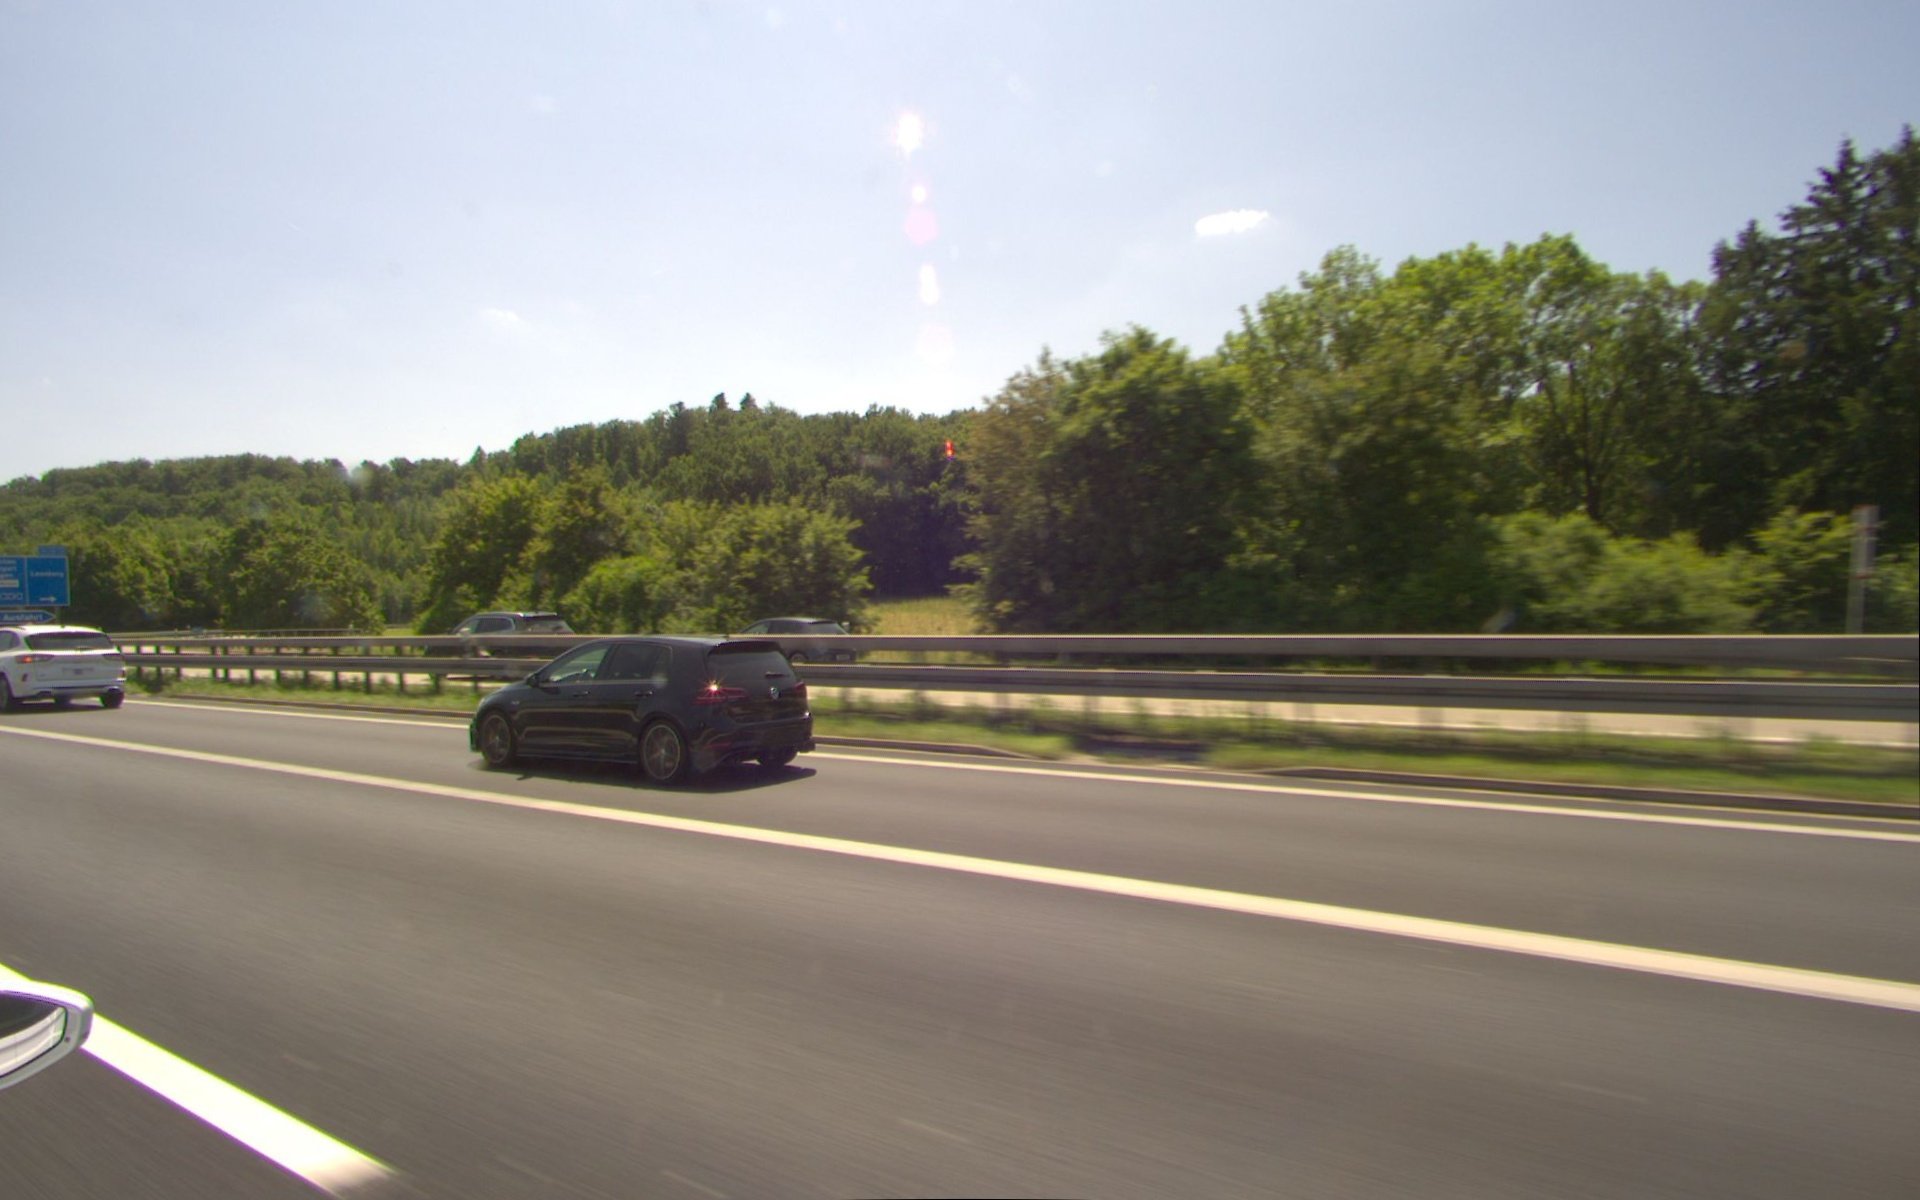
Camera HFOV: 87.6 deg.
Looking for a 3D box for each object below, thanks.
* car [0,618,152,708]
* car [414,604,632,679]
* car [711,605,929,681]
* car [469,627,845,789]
[{"bbox_3d":[-18.802,1.248,20.630,4.403,1.683,1.991,-1,-2,31],"label":"car"},{"bbox_3d":[-10.823,1.019,24.689,5.541,1.683,1.992,-1,-2,29],"label":"car"},{"bbox_3d":[-3.441,1.038,24.317,5.151,1.683,1.991,-1,-2,30],"label":"car"},{"bbox_3d":[-3.327,1.036,10.812,3.910,1.454,1.791,-1,-2,32],"label":"car"}]
